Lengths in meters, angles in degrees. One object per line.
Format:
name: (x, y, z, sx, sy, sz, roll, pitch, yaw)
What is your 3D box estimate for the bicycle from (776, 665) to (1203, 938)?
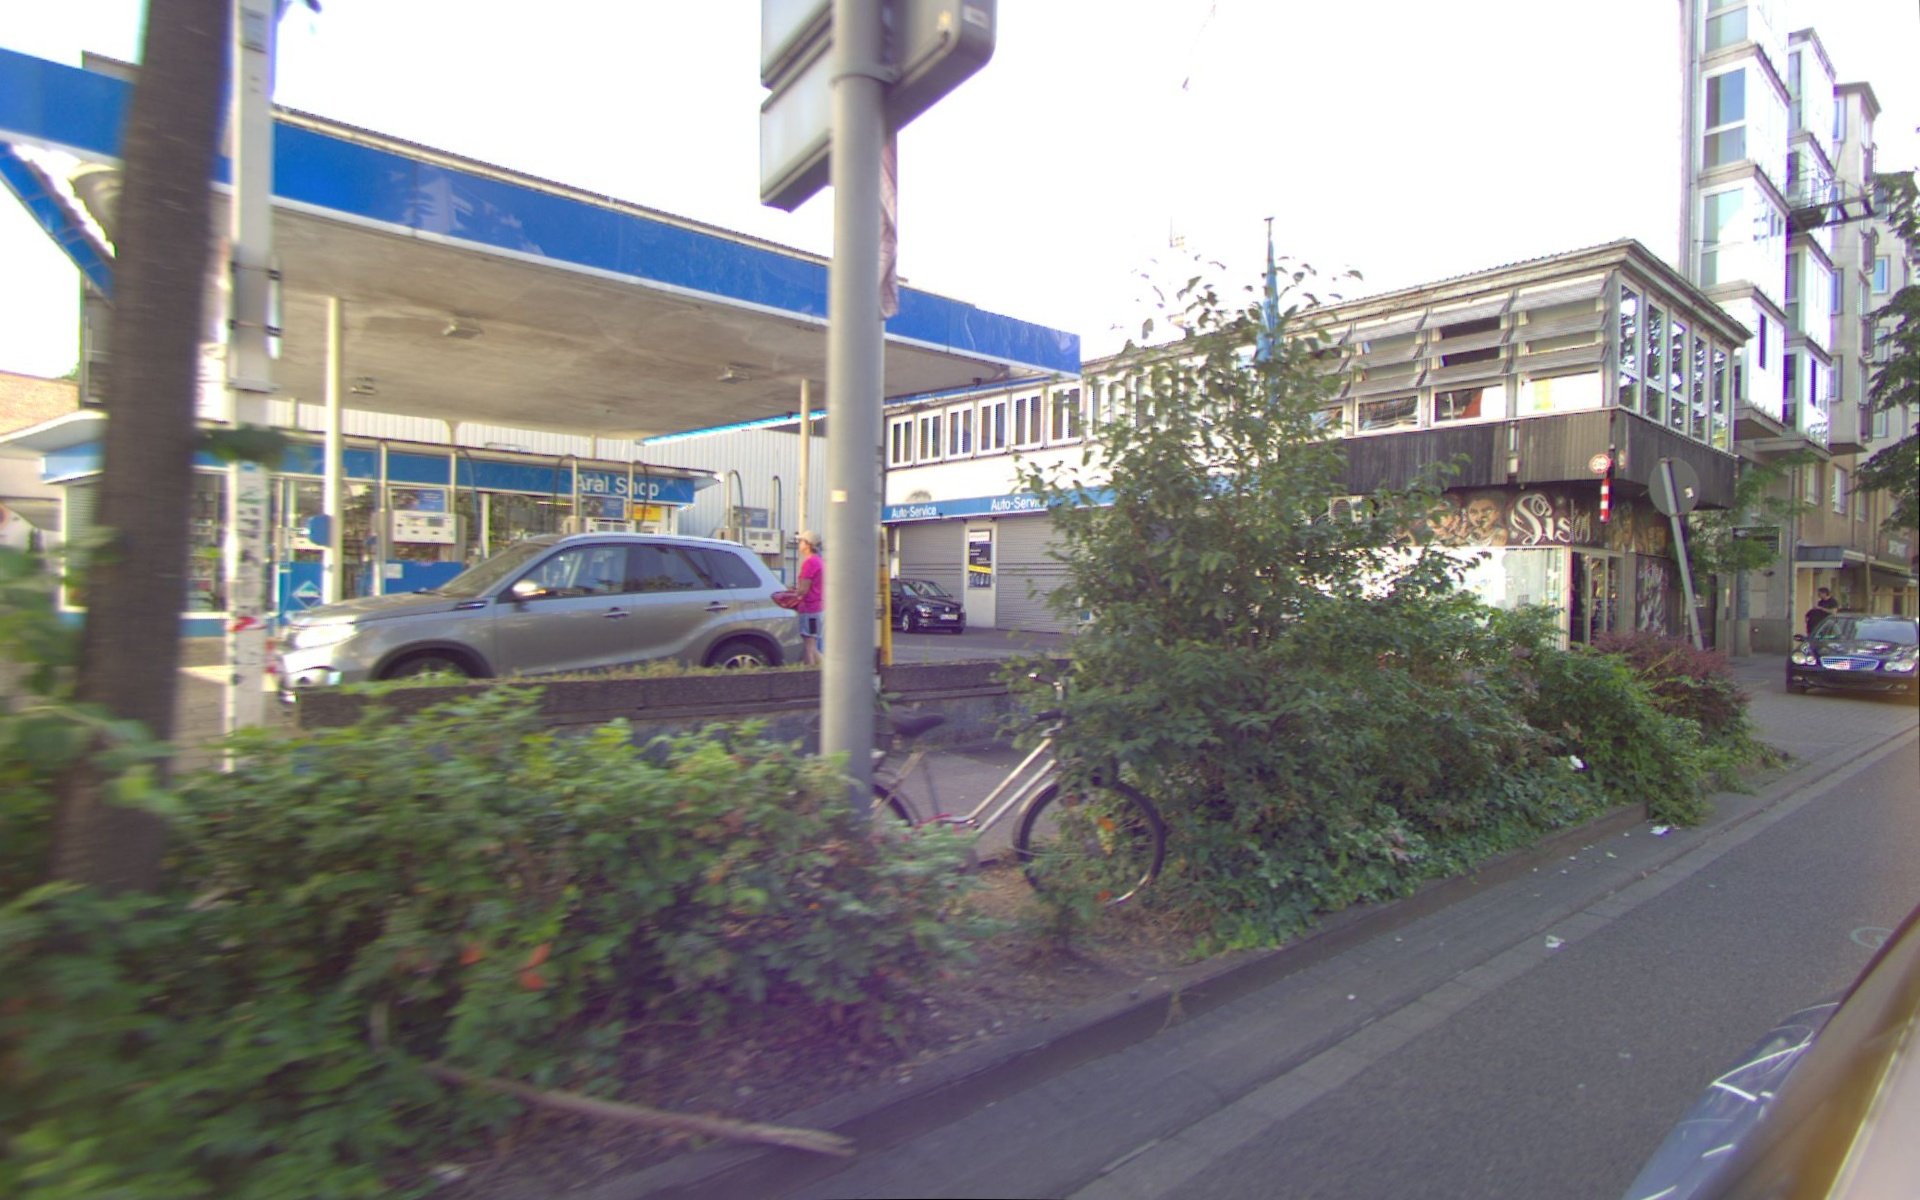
bicycle: (0.108, 0.799, 4.129, 1.638, 1.001, 0.437, 1, 1, -5)

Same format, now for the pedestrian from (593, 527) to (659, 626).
pedestrian: (-6.127, -0.429, 18.574, 0.808, 1.764, 0.815, 1, 0, 21)

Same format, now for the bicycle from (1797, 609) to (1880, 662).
bicycle: (21.098, 0.831, 24.347, 0.670, 1.163, 1.681, 1, 1, 8)

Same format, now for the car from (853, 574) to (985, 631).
car: (-1.196, 0.024, 27.414, 1.869, 1.375, 4.004, 1, 1, -31)

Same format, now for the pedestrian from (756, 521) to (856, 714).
pedestrian: (-1.563, 0.159, 10.297, 0.684, 1.873, 0.701, 2, 1, 34)

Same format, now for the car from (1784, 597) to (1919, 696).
car: (16.023, 0.731, 17.527, 4.565, 1.429, 1.905, 0, 3, -41)

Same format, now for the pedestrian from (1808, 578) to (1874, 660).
pedestrian: (21.631, 0.449, 24.871, 0.745, 1.960, 0.930, 1, 0, -15)

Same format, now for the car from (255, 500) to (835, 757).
car: (-3.383, 0.165, 8.654, 4.216, 1.668, 1.905, 0, 1, -39)
